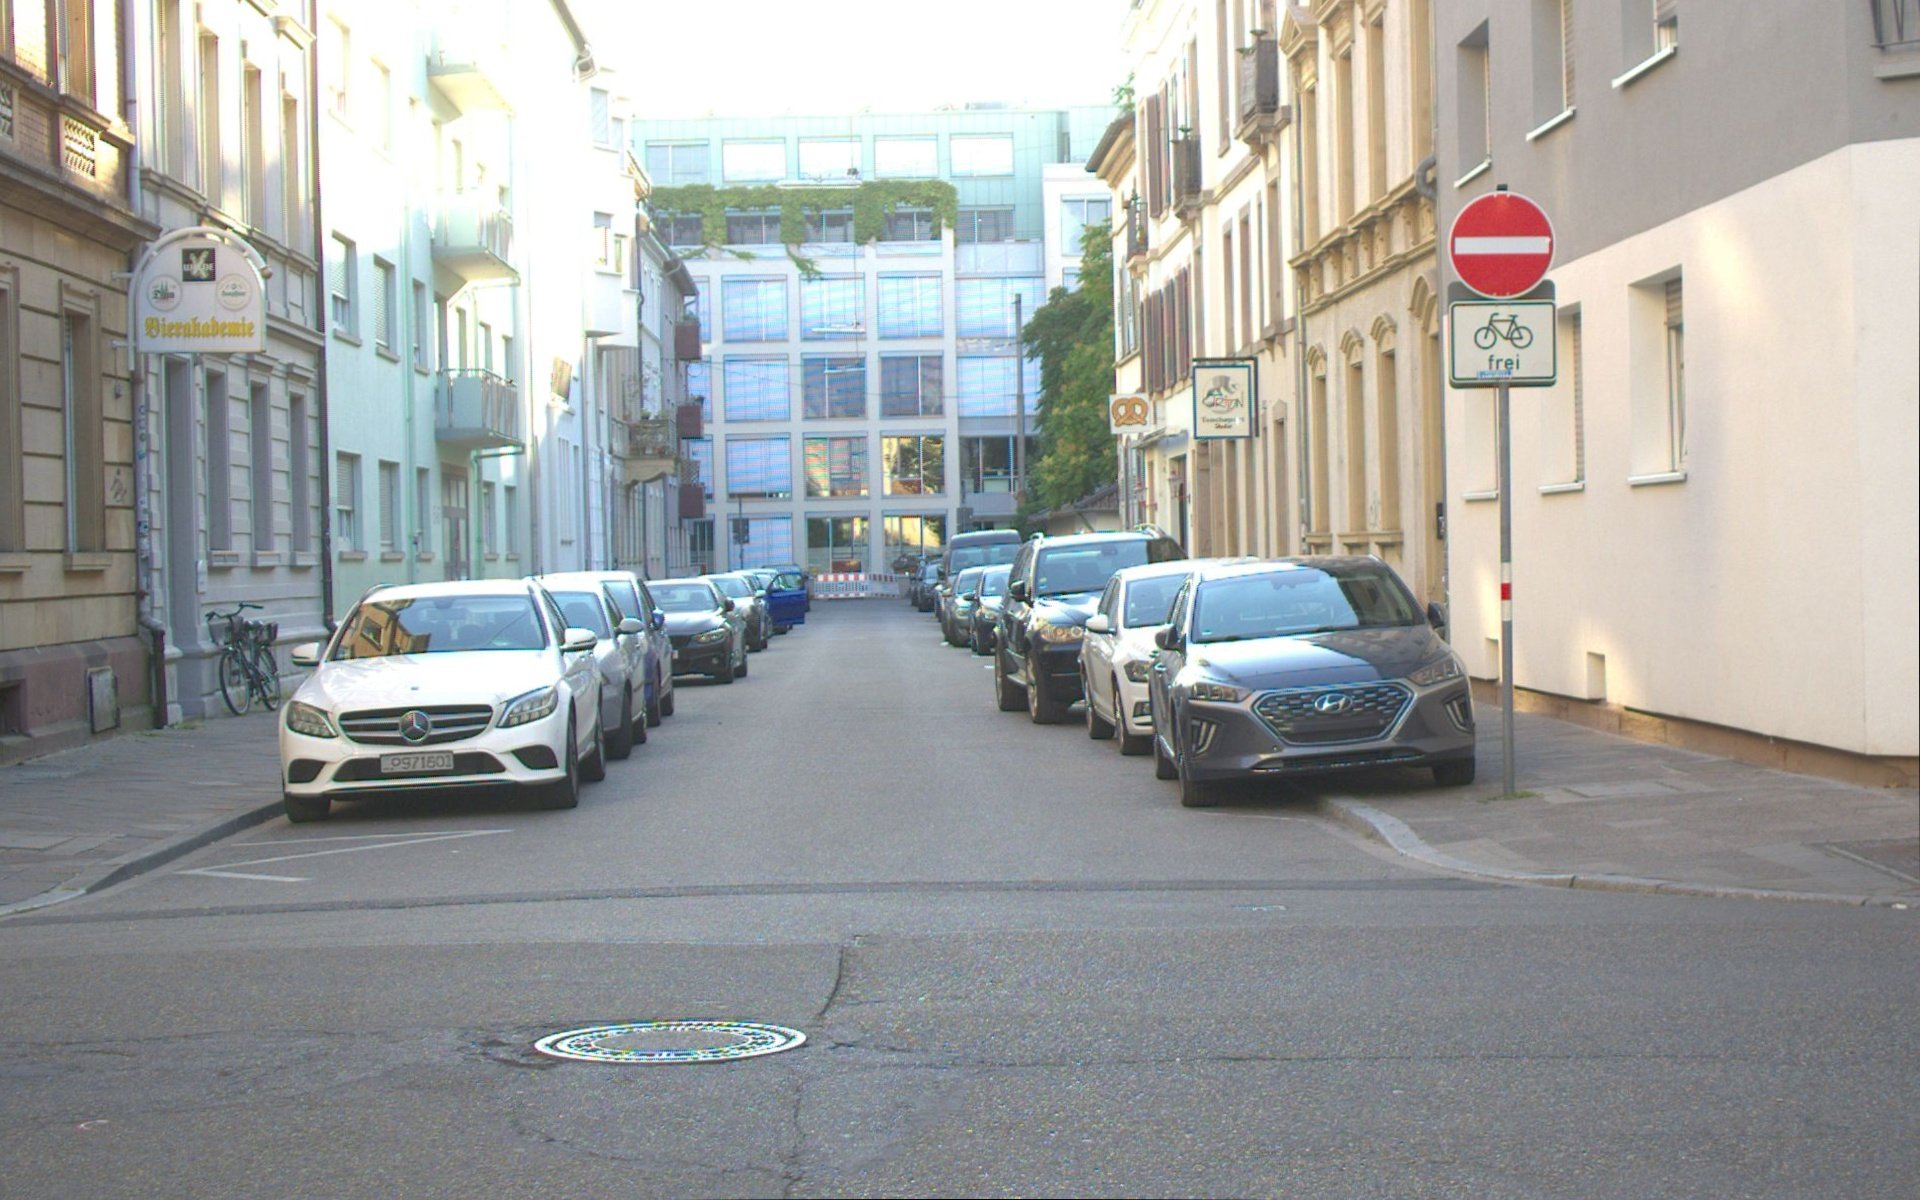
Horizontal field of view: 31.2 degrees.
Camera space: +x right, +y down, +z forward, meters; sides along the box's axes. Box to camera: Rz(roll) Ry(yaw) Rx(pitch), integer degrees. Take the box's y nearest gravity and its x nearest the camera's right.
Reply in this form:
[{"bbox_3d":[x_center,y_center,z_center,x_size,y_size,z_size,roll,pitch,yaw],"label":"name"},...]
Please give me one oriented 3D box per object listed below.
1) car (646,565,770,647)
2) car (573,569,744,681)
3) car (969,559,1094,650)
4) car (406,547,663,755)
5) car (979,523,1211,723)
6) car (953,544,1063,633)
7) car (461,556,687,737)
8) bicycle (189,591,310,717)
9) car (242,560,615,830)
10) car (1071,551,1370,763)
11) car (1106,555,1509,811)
[{"bbox_3d":[-4.626,0.082,63.346,2.172,1.413,4.001,-1,1,-4],"label":"car"},{"bbox_3d":[-3.949,0.290,45.642,1.993,1.350,4.429,-1,1,-2],"label":"car"},{"bbox_3d":[1.179,0.052,58.303,1.993,1.446,4.000,-1,1,-1],"label":"car"},{"bbox_3d":[-3.436,0.366,28.329,1.625,1.571,3.754,-1,1,0],"label":"car"},{"bbox_3d":[1.237,0.181,33.164,1.893,1.778,4.000,-1,1,-2],"label":"car"},{"bbox_3d":[0.928,-0.255,68.986,1.993,1.694,4.000,-1,1,-2],"label":"car"},{"bbox_3d":[-3.762,0.408,34.065,1.785,1.653,3.817,-1,1,0],"label":"car"},{"bbox_3d":[-7.007,0.514,34.003,0.737,1.156,2.461,-1,1,-2],"label":"bicycle"},{"bbox_3d":[-3.419,0.541,22.928,1.993,1.559,4.507,-1,1,-3],"label":"car"},{"bbox_3d":[2.020,0.401,27.762,1.963,1.552,3.889,-1,1,-2],"label":"car"},{"bbox_3d":[2.086,0.451,21.690,1.938,1.367,3.789,-3,1,-2],"label":"car"}]
